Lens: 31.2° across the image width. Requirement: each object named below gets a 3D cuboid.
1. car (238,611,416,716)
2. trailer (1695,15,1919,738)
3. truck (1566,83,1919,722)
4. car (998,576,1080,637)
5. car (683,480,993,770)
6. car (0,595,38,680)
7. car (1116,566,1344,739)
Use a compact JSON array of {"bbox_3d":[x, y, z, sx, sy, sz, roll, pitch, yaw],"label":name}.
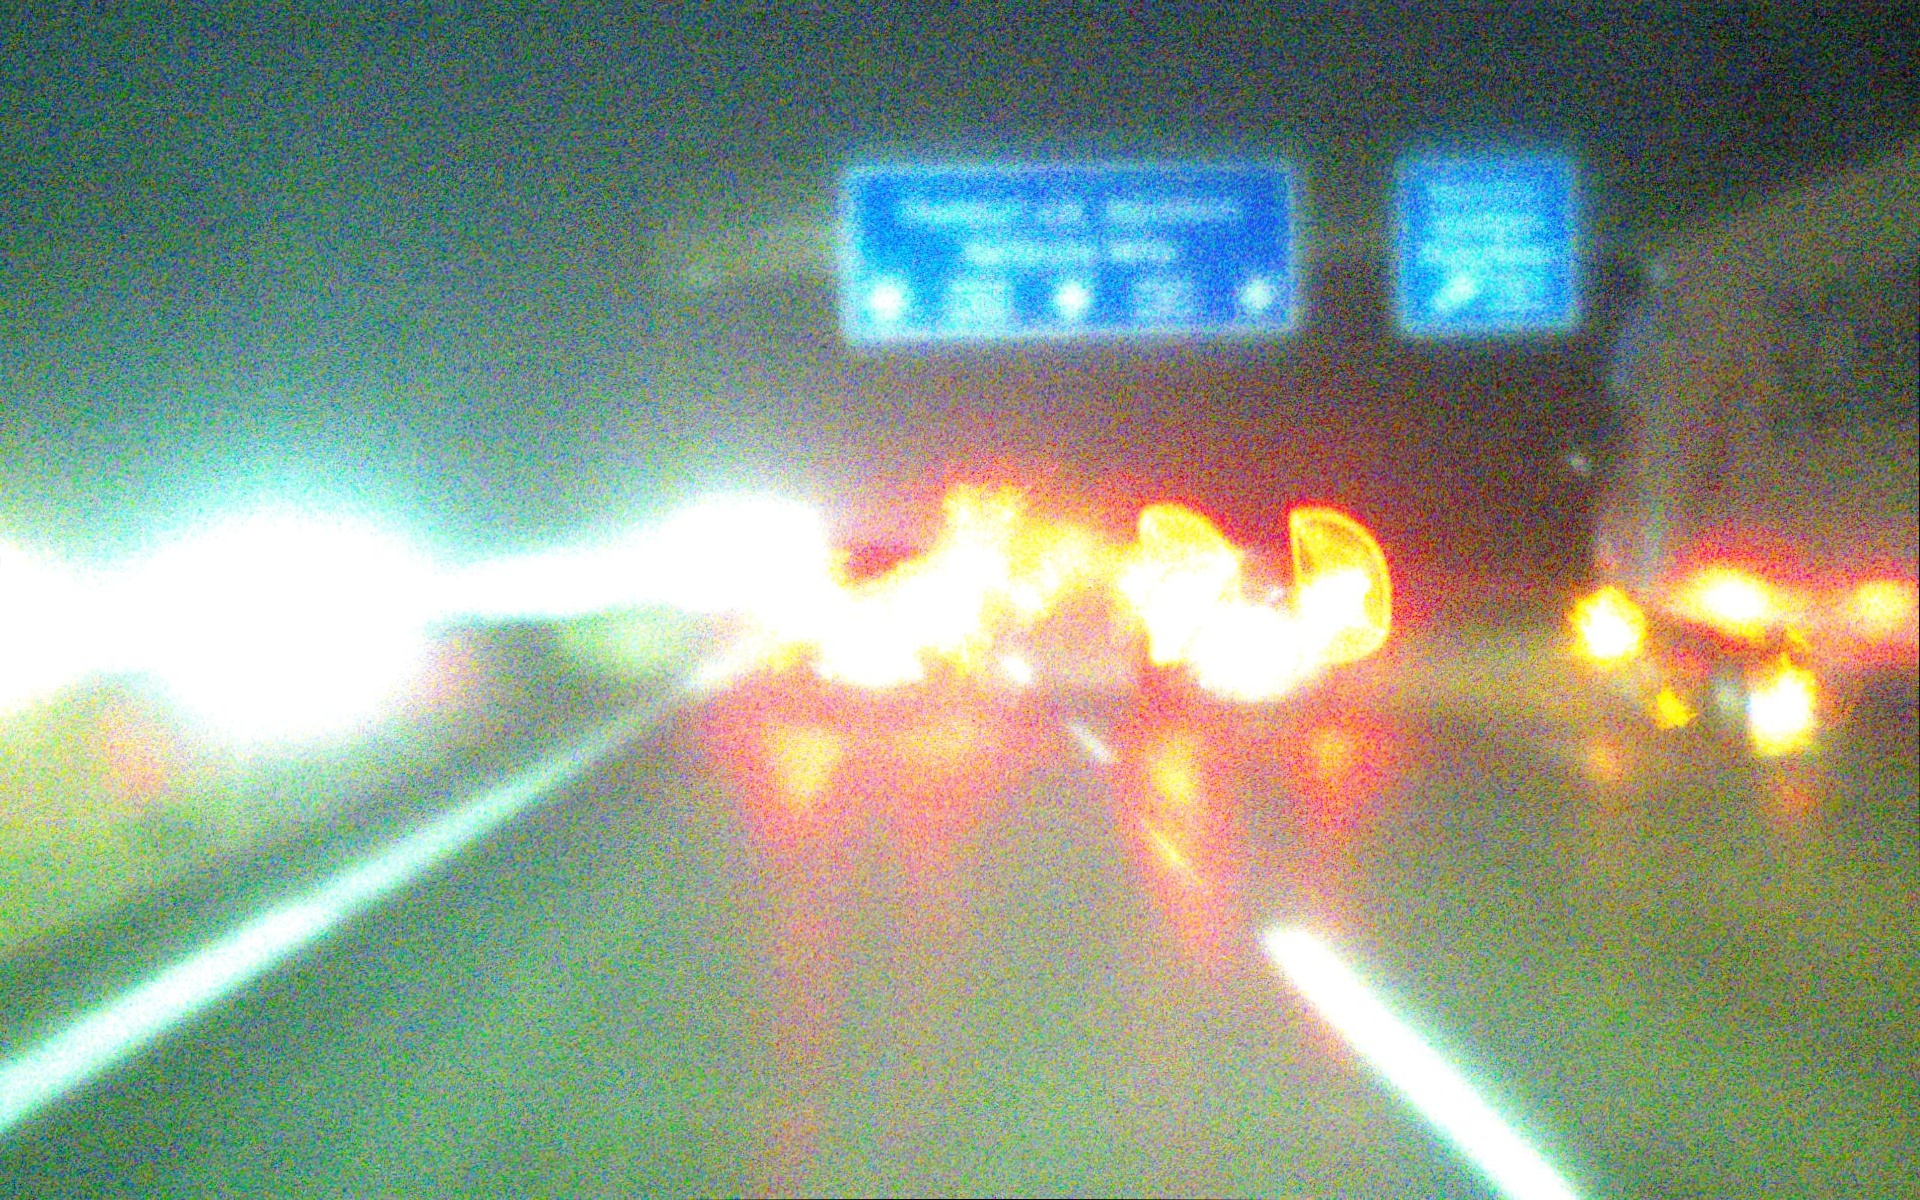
[{"bbox_3d":[-9.760,0.947,53.335,1.965,1.470,4.447,1,0,-1],"label":"car"},{"bbox_3d":[6.971,-1.280,19.398,2.803,4.198,12.097,1,1,-1],"label":"trailer"},{"bbox_3d":[6.851,-1.360,26.696,2.803,4.252,7.448,1,1,-1],"label":"truck"},{"bbox_3d":[2.145,0.160,94.618,2.137,1.612,4.000,1,0,0],"label":"car"},{"bbox_3d":[-1.211,0.160,33.850,2.709,2.525,5.831,-2,1,-2],"label":"car"},{"bbox_3d":[-18.245,0.679,61.886,1.993,1.496,4.965,1,0,-1],"label":"car"},{"bbox_3d":[2.644,0.477,34.487,1.884,1.583,4.000,1,1,-1],"label":"car"}]
